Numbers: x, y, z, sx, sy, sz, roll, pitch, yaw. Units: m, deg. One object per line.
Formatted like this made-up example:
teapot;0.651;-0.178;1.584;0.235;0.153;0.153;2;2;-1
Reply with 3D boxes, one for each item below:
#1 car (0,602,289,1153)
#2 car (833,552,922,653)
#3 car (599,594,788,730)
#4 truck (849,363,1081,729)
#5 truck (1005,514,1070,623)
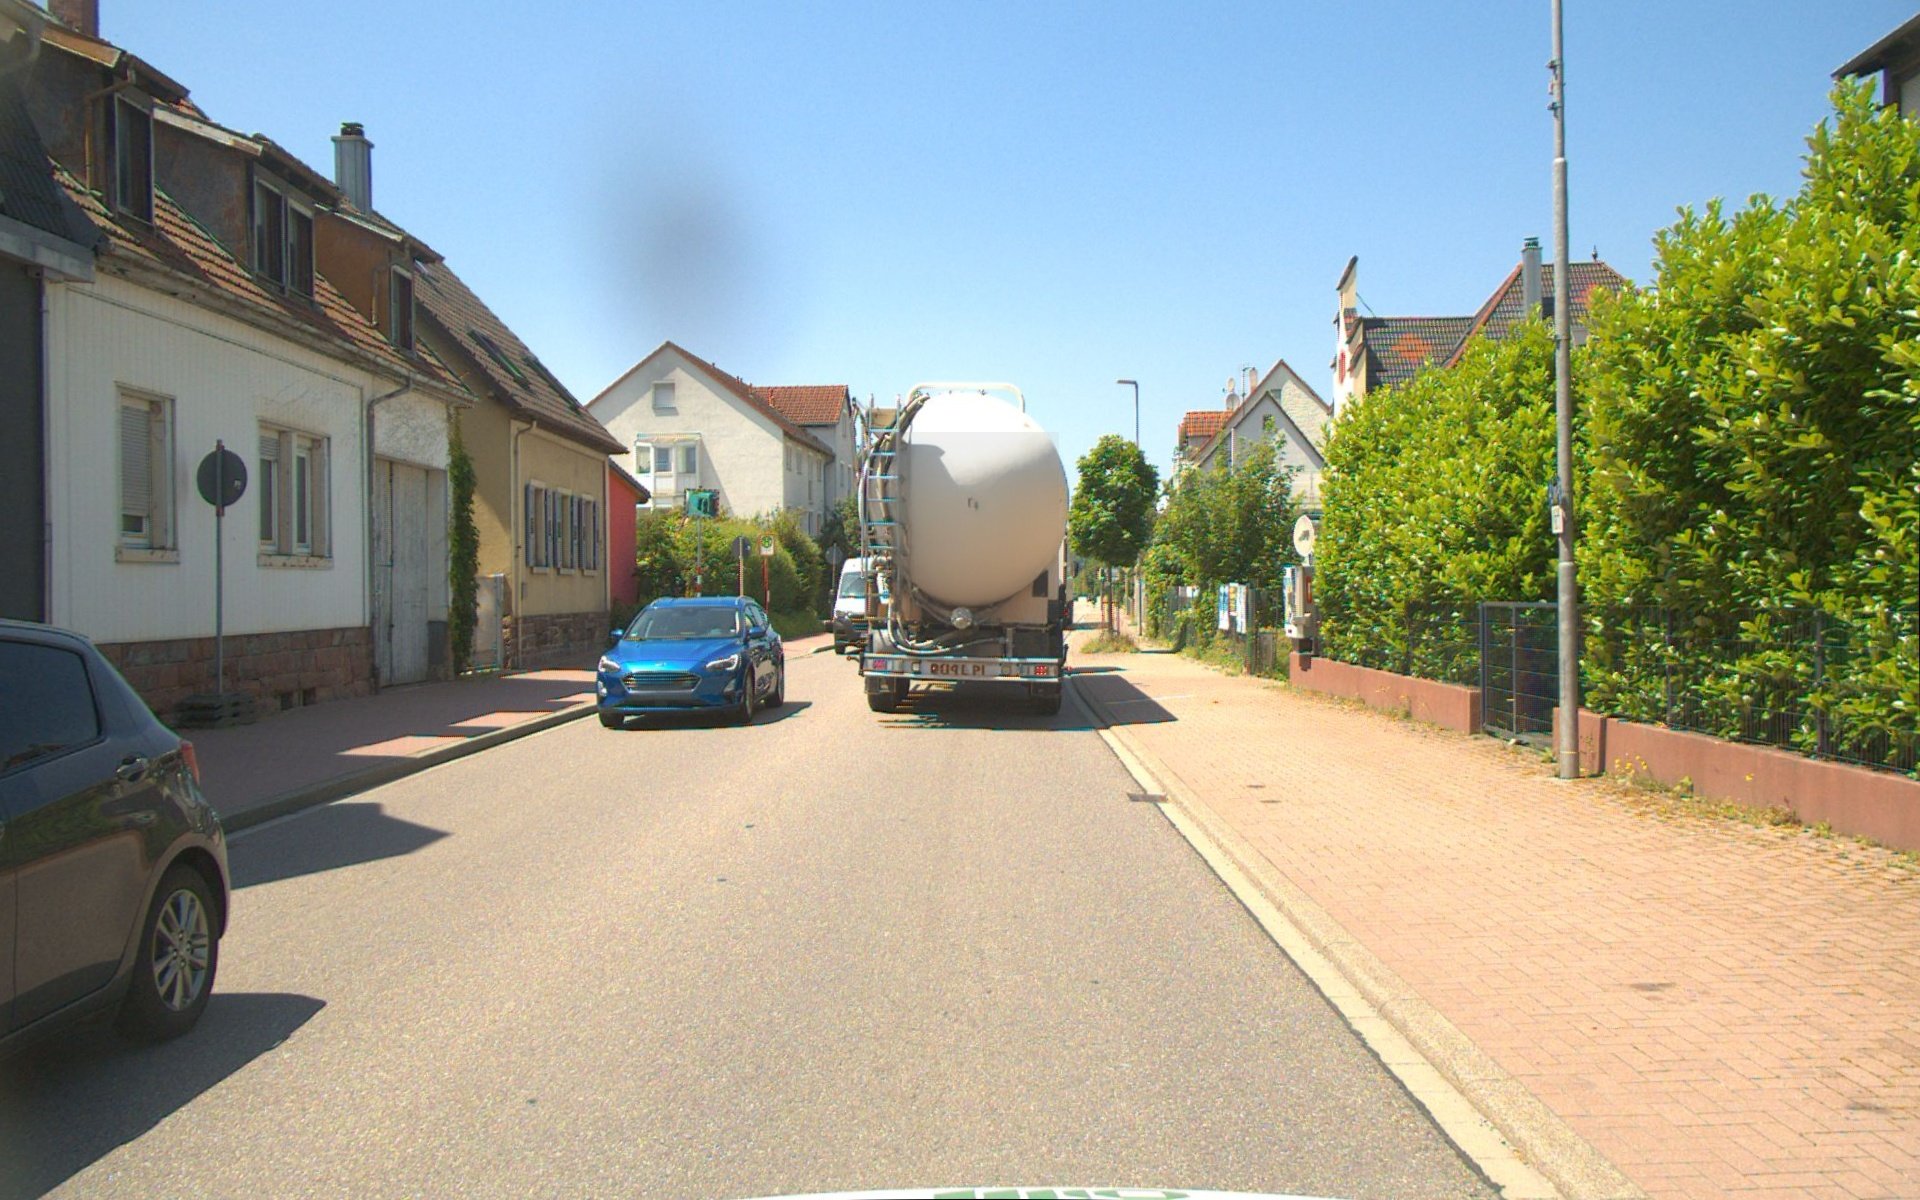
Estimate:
car;-3.443;0.788;4.454;1.642;1.484;3.928;-2;0;-1
car;-2.148;0.057;44.638;1.988;2.504;6.068;-1;0;1
car;-3.236;0.692;20.864;1.612;1.479;4.401;-2;0;0
truck;0.041;-0.635;23.277;2.587;4.086;9.561;0;0;0
truck;3.459;-1.295;71.434;2.585;4.298;12.099;0;0;4
